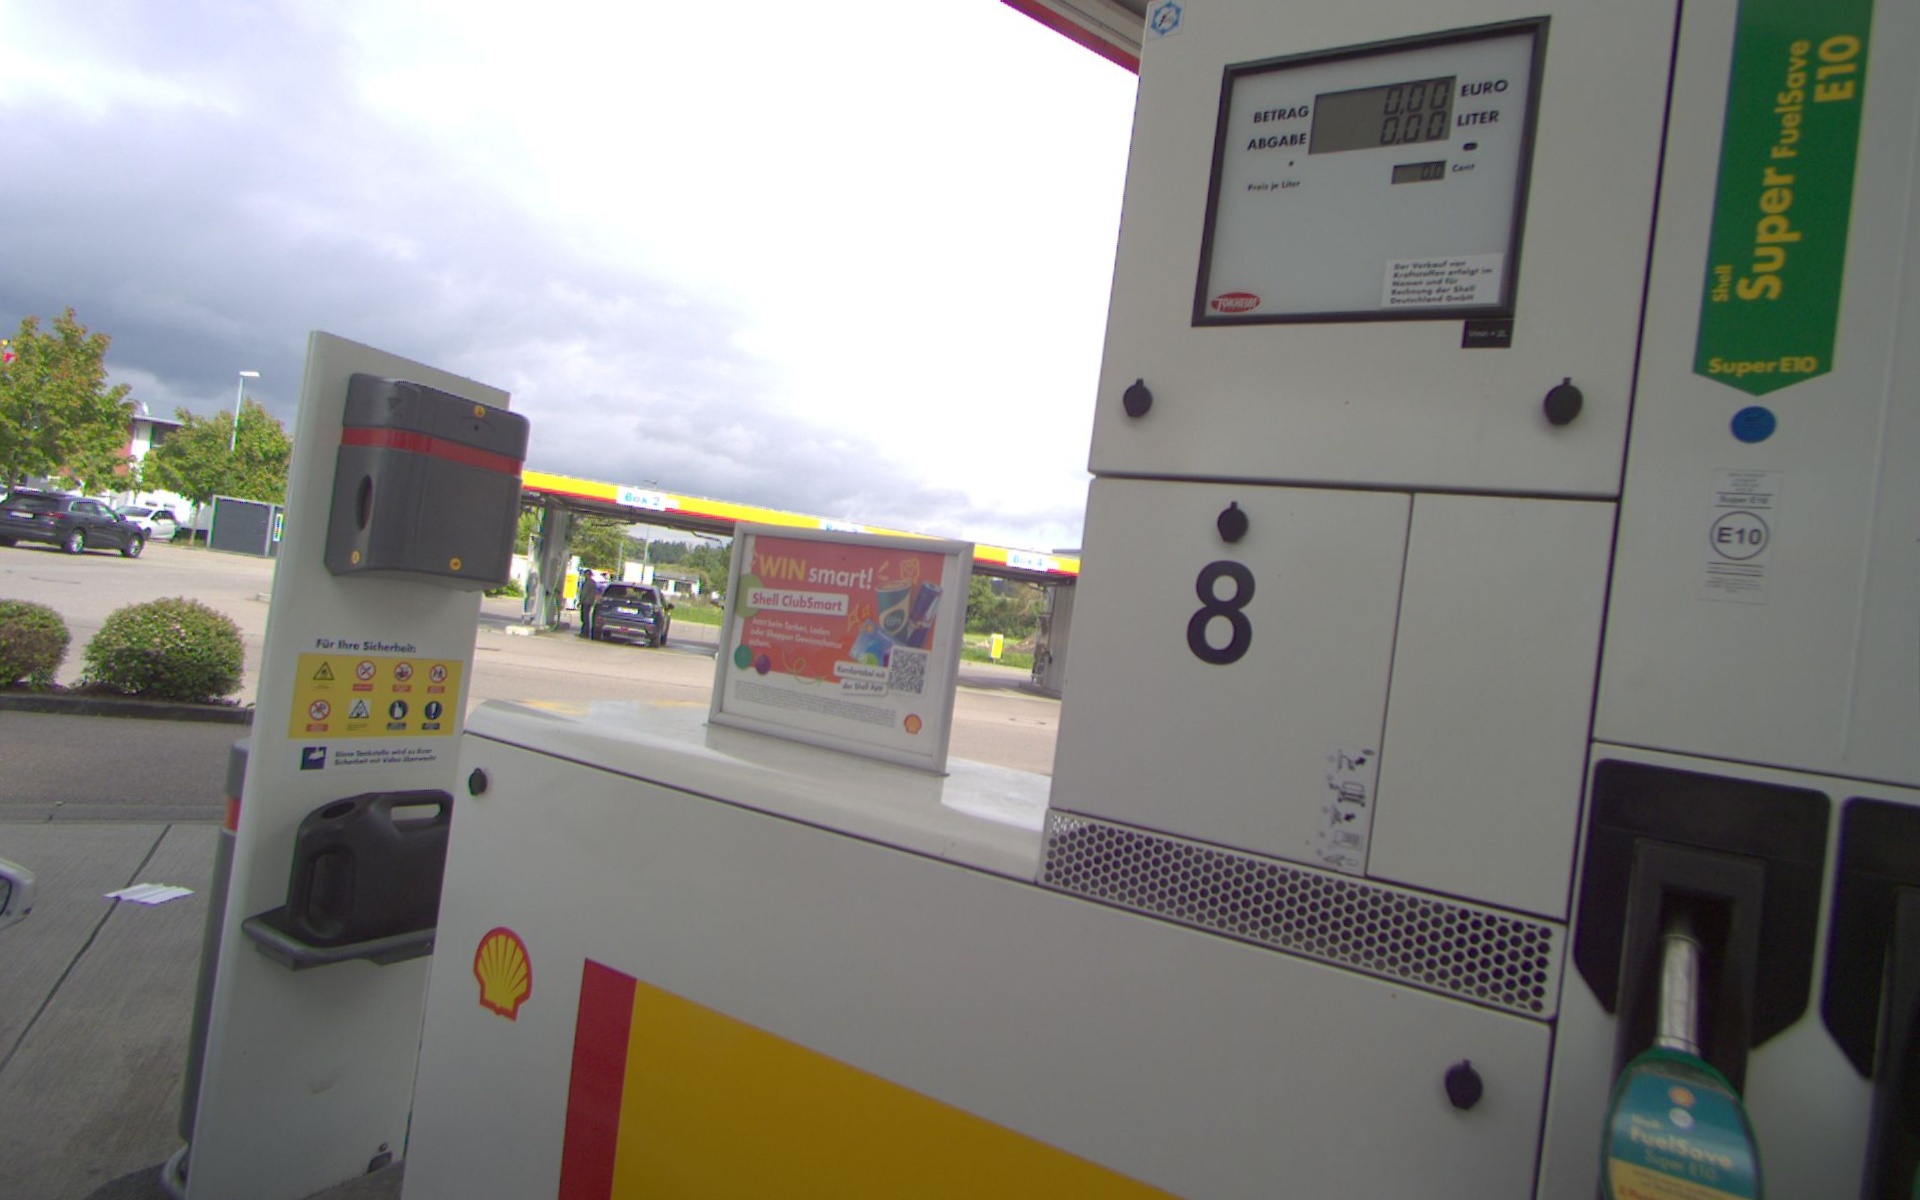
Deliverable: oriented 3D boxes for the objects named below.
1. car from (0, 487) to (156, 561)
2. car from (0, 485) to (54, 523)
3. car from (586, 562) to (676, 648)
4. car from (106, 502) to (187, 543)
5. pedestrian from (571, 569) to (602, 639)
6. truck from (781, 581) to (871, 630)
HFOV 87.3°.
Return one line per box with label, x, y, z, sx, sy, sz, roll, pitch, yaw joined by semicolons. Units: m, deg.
car;-25.922;-2.172;29.278;1.855;1.566;4.498;8;-2;-10
car;-57.350;-5.913;60.261;2.149;1.854;4.870;8;-2;-11
car;-8.690;0.147;26.878;1.696;1.919;3.800;8;-2;-12
car;-35.250;-3.347;43.664;1.346;1.322;3.098;8;-2;-12
pedestrian;-9.724;0.095;26.173;0.550;1.742;0.526;7;-1;-21
truck;-13.002;0.547;97.523;7.978;3.575;2.687;8;-2;-19
